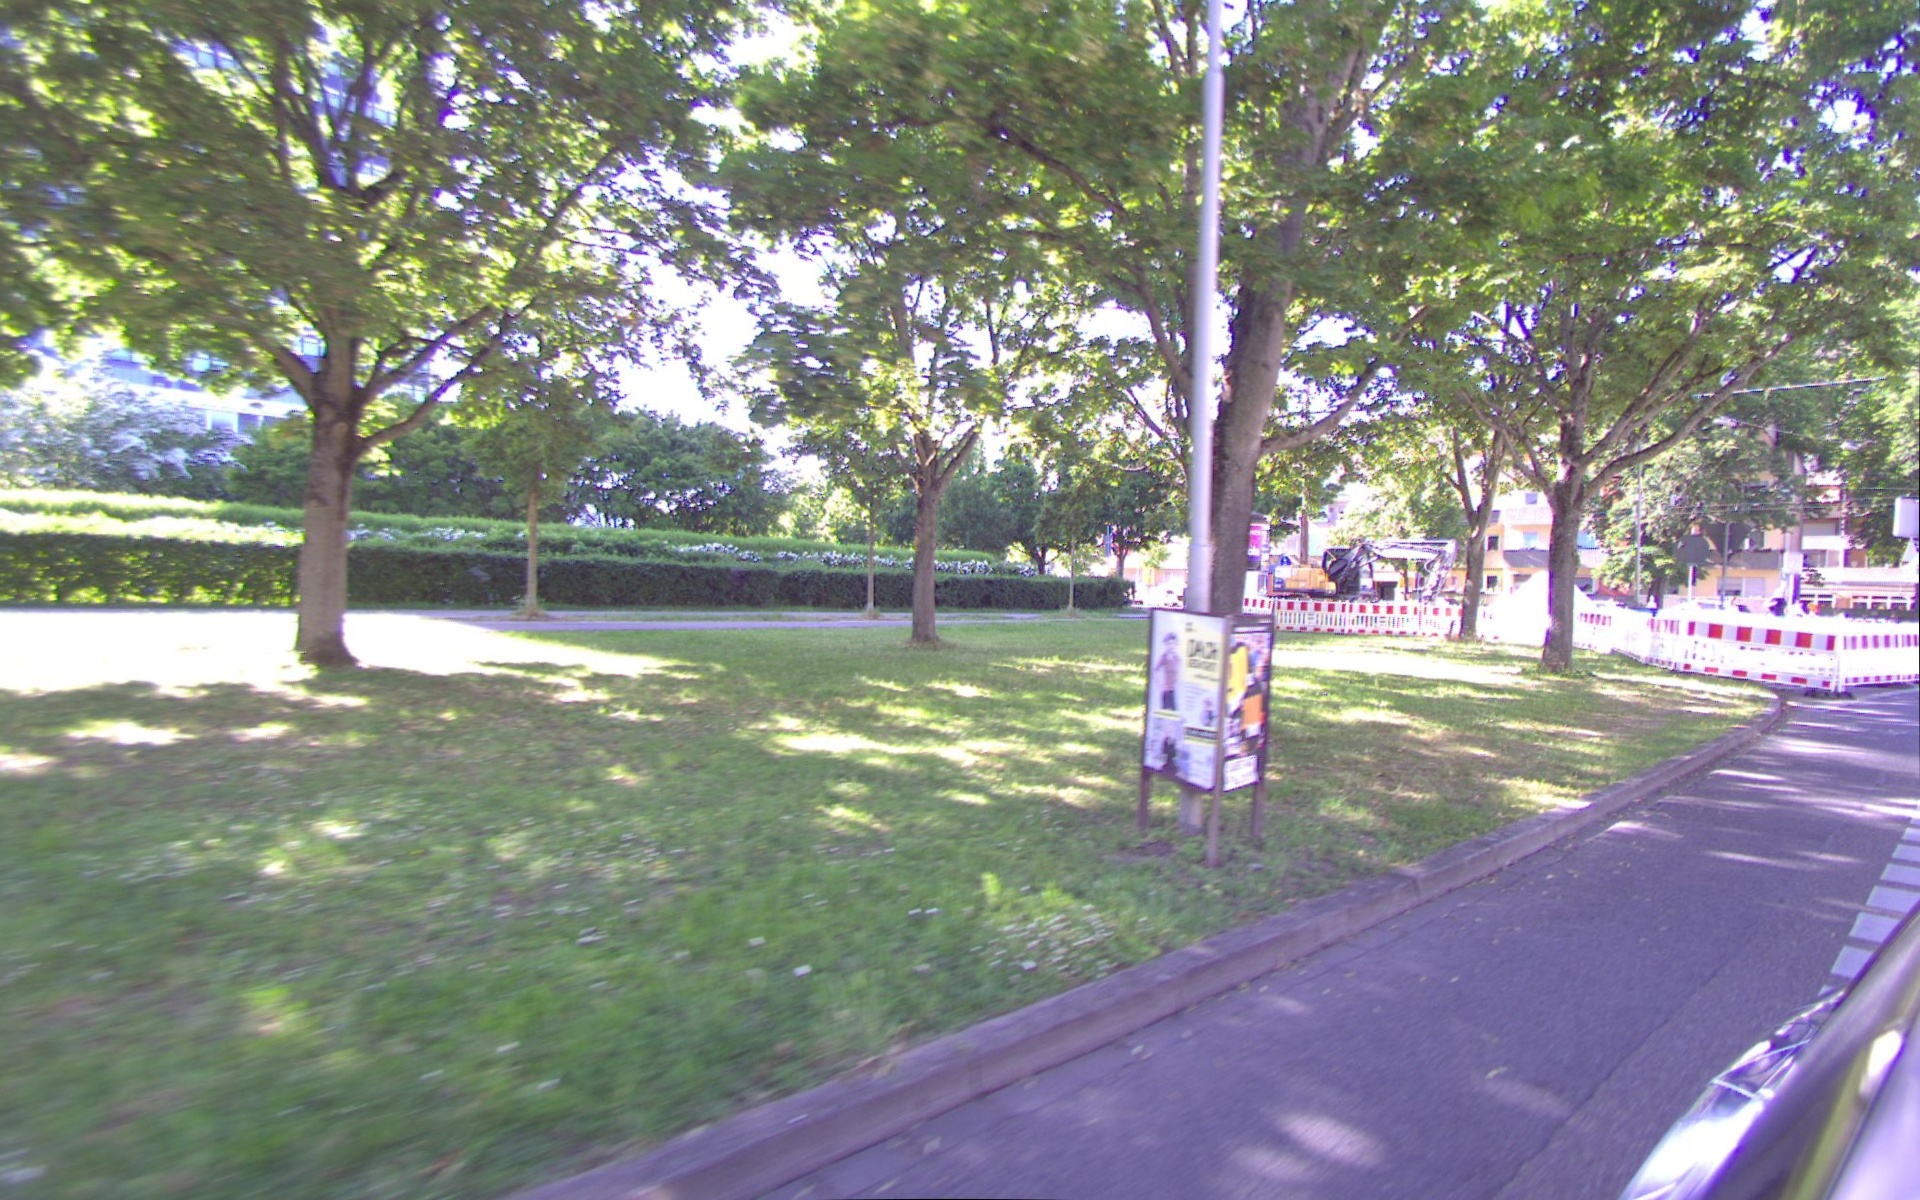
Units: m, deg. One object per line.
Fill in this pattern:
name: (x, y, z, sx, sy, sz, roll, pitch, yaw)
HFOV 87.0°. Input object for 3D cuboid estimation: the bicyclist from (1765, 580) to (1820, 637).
bicyclist: (28.137, 0.277, 34.196, 0.895, 1.853, 1.098, 2, 1, -25)

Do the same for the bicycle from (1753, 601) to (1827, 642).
bicycle: (28.092, 0.712, 34.272, 0.641, 1.281, 1.787, 2, 1, -25)

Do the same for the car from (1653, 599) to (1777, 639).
car: (36.032, 0.865, 48.404, 1.896, 1.640, 4.331, 1, 2, -27)

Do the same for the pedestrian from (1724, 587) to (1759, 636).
pedestrian: (25.999, 0.377, 33.659, 0.622, 1.621, 0.641, 1, 1, -17)

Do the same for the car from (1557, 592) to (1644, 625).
car: (34.054, 0.421, 53.911, 1.623, 1.551, 3.513, 3, 1, -29)
